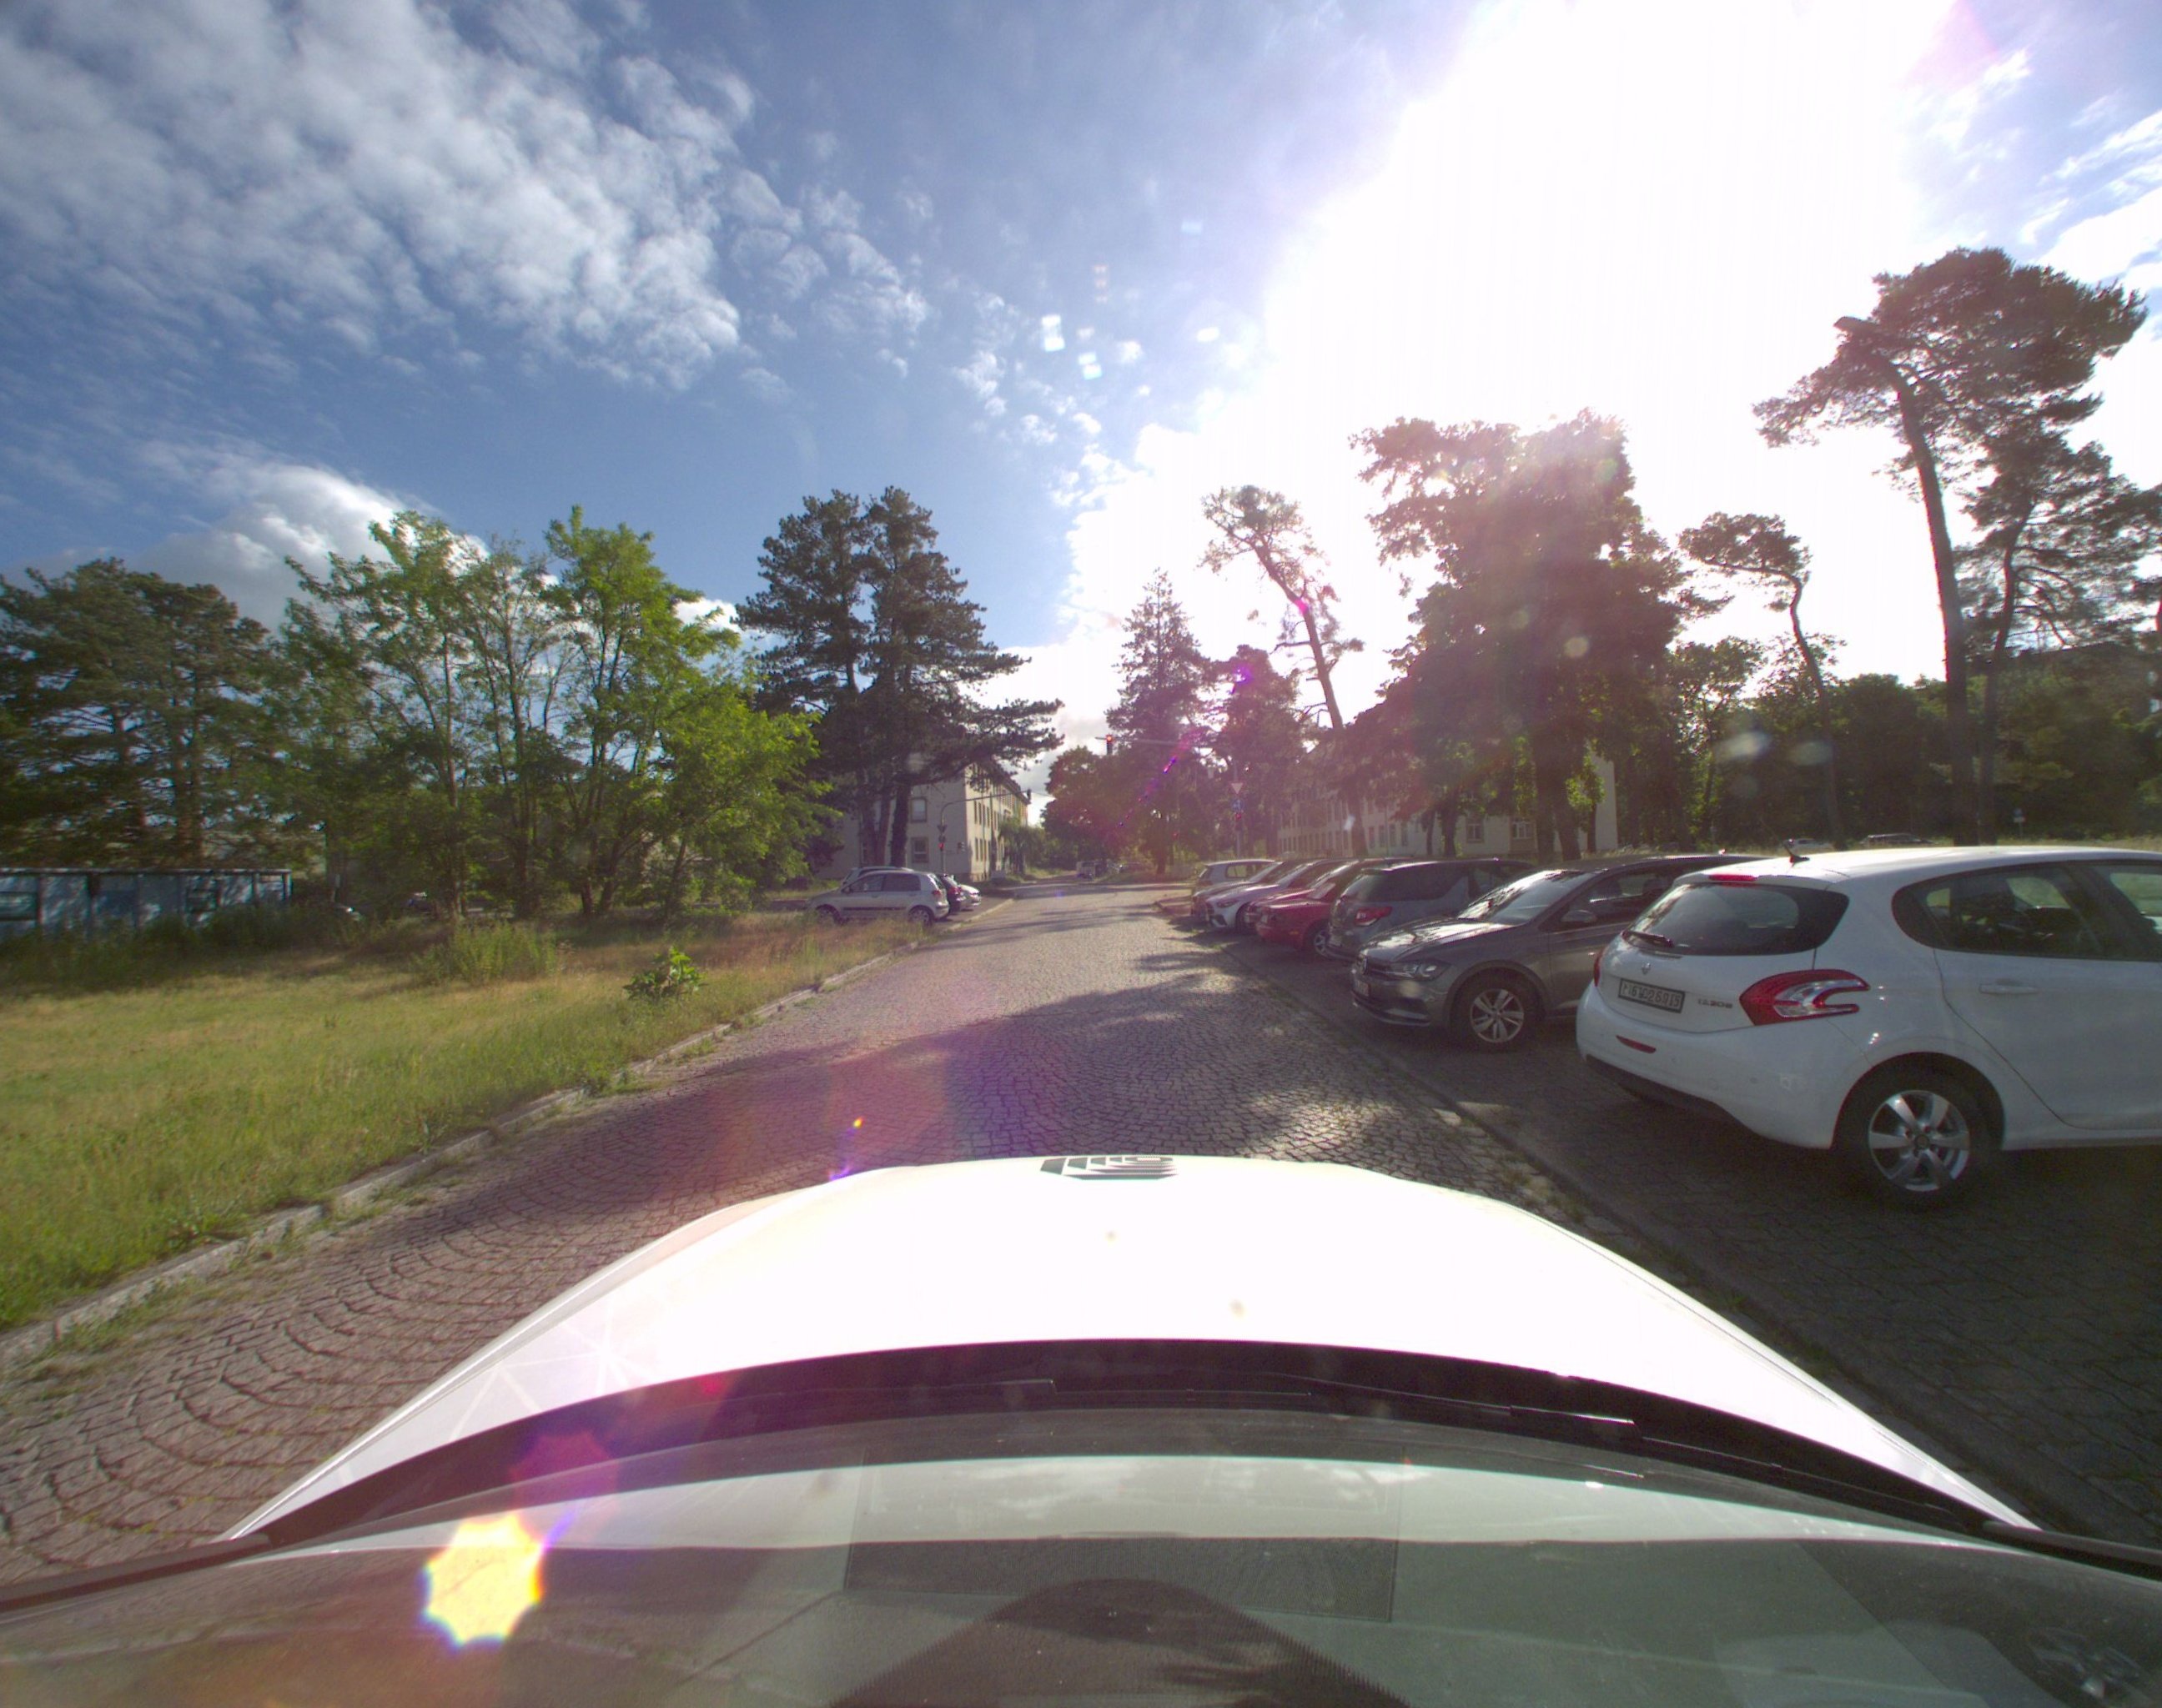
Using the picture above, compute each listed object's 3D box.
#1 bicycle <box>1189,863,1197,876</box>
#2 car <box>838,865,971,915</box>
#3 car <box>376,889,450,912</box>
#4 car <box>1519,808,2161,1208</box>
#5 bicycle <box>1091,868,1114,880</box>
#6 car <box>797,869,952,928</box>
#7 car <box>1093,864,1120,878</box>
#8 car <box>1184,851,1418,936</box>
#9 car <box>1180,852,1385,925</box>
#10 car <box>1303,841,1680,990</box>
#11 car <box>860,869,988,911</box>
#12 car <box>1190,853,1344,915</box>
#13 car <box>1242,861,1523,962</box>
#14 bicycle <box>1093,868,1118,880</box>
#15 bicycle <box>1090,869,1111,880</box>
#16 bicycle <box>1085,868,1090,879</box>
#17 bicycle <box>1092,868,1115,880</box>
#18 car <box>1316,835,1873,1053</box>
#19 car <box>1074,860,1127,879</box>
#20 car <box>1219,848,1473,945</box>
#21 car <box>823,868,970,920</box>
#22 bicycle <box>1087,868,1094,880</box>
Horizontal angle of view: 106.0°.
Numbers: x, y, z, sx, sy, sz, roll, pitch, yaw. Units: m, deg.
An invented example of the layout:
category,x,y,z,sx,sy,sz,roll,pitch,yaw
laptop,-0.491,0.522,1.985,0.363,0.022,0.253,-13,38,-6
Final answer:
category,x,y,z,sx,sy,sz,roll,pitch,yaw
bicycle,8.197,1.119,59.410,0.300,0.961,1.584,0,-1,-3
car,-5.817,1.167,27.246,4.070,1.593,1.883,0,0,-3
car,-47.643,3.309,58.172,1.895,1.433,4.001,-2,-1,1
car,4.658,0.604,4.283,3.694,1.534,1.761,-4,0,1
bicycle,1.937,1.825,74.118,2.026,1.010,0.626,0,-2,-7
car,-5.431,1.160,21.740,3.737,1.487,1.644,0,0,-3
car,2.670,1.747,85.998,2.776,1.467,1.669,0,-1,-4
car,4.502,0.799,17.157,4.416,1.415,1.781,-4,0,1
car,4.813,0.804,19.871,4.543,1.415,1.637,-4,0,1
car,4.867,0.696,10.071,3.695,1.449,1.816,-4,0,0
car,-5.647,1.277,29.699,4.323,1.468,1.829,0,0,-3
car,5.085,0.799,22.649,3.868,1.415,1.637,-4,0,1
car,4.533,0.840,12.672,3.694,1.223,1.747,-4,0,1
bicycle,2.129,1.768,71.628,2.107,1.010,0.619,0,-2,-7
bicycle,1.773,1.845,74.992,1.836,1.010,0.634,0,-2,-7
bicycle,0.638,1.950,81.181,0.416,1.010,1.483,0,-1,2
bicycle,1.999,1.804,73.235,2.003,1.010,0.630,0,-2,-7
car,4.220,0.701,7.205,3.694,1.449,1.856,-4,0,1
car,2.151,1.698,89.350,5.535,2.014,1.988,0,-2,-18
car,4.766,0.750,15.073,4.113,1.449,1.637,-4,0,1
car,-5.431,1.168,24.368,3.977,1.480,1.801,0,0,-3
bicycle,0.796,1.688,67.924,0.466,1.010,1.584,0,-1,-3
